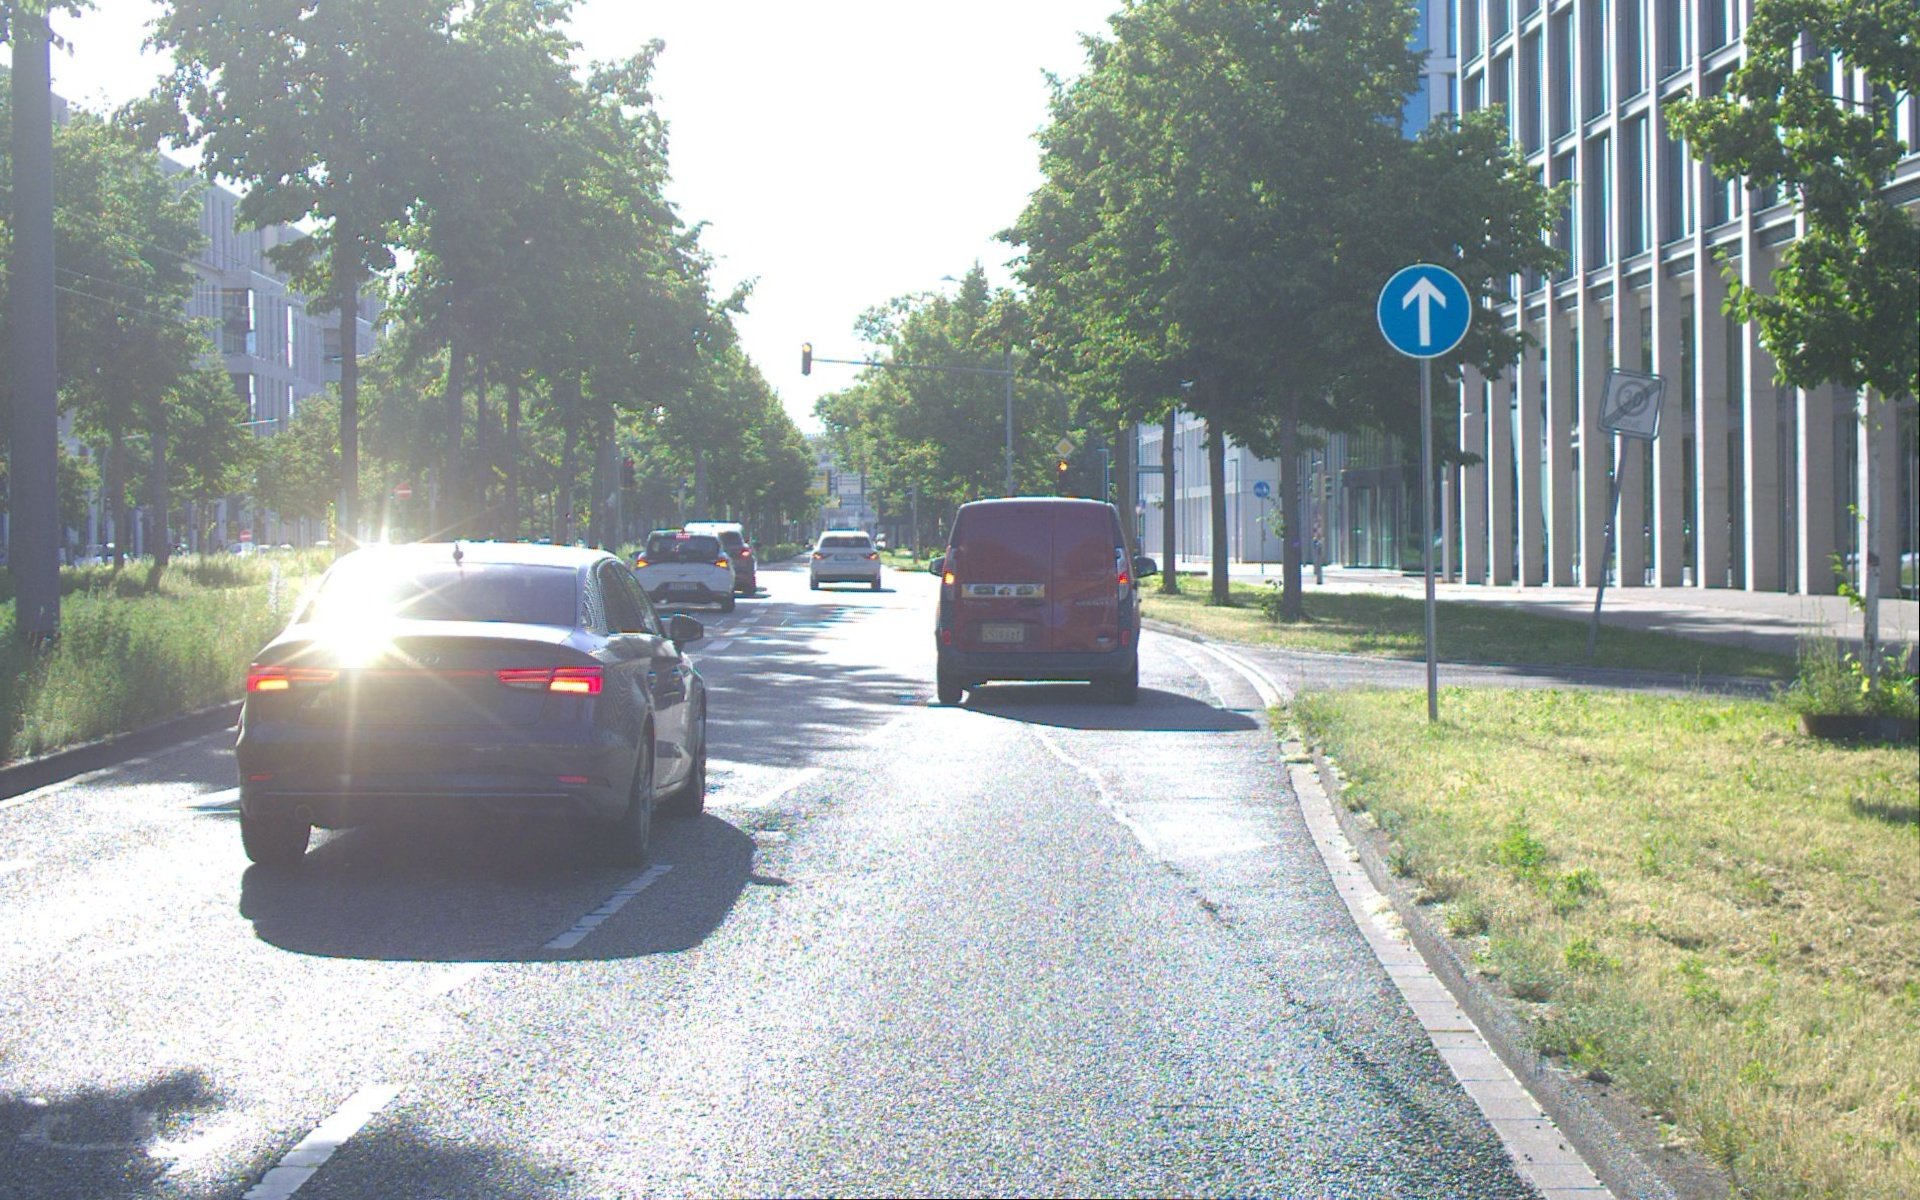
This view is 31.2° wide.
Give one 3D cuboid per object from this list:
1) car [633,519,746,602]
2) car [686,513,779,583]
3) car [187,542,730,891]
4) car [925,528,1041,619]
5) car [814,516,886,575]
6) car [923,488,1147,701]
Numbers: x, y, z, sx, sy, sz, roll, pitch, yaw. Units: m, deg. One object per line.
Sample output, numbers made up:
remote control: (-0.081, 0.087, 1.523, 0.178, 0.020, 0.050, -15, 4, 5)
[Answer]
car: (-4.798, -0.736, 61.402, 1.942, 1.436, 4.001, 0, 1, -4)
car: (-5.053, -1.155, 76.836, 1.842, 1.529, 3.940, 0, 0, 0)
car: (-2.179, 0.436, 16.037, 1.721, 1.361, 4.146, 0, 2, 3)
car: (0.376, -0.489, 60.226, 1.721, 1.420, 3.817, 2, 2, -4)
car: (-2.698, -1.344, 84.389, 1.721, 1.420, 3.817, 0, 1, -2)
car: (0.617, -0.113, 31.136, 1.797, 1.771, 4.001, 1, 2, -2)
